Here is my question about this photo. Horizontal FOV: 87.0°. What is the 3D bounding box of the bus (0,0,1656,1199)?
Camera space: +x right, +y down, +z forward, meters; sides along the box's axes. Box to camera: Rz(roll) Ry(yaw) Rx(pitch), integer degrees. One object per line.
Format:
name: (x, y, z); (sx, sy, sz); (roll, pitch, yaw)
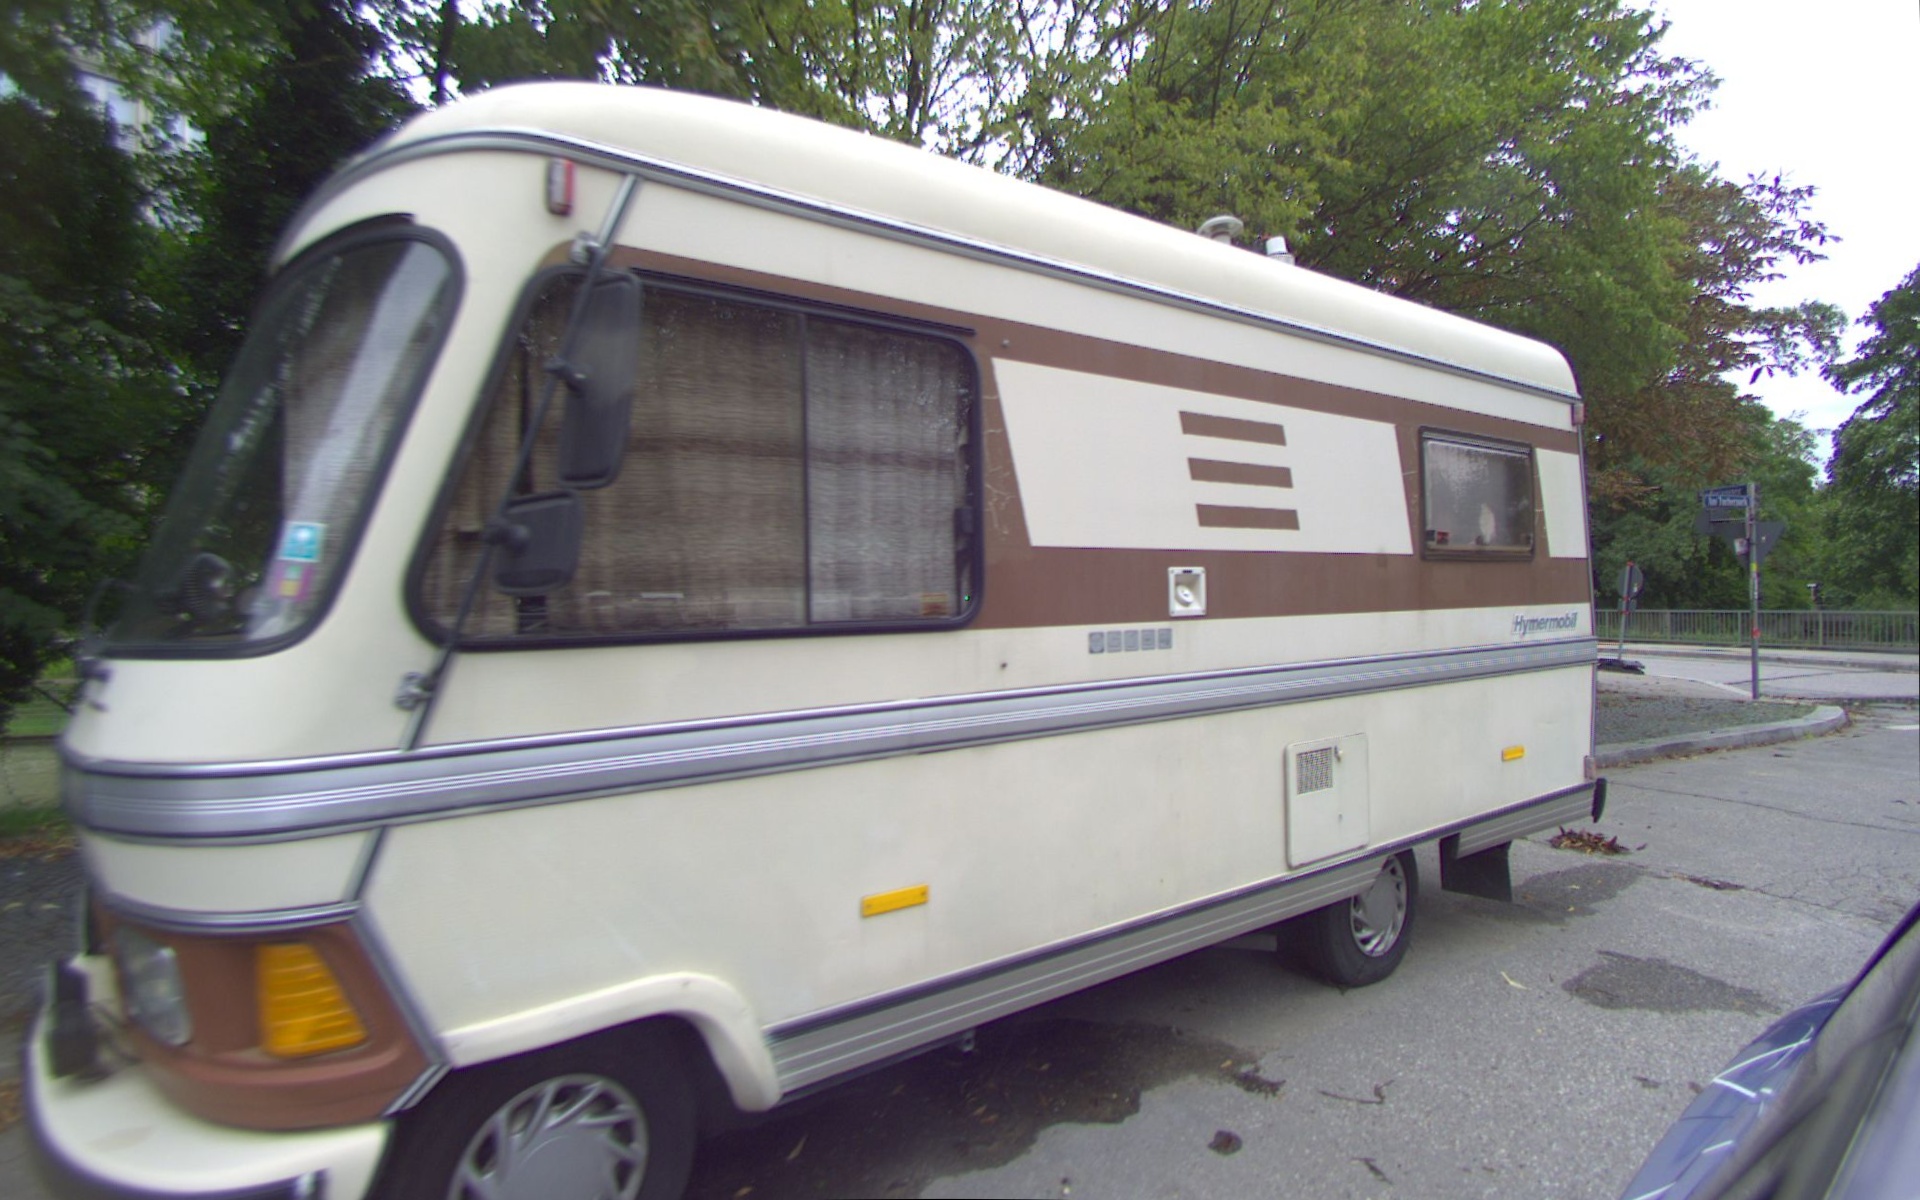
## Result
bus: (0.247, -0.054, 3.858); (5.628, 2.733, 2.321); (0, 0, -37)
